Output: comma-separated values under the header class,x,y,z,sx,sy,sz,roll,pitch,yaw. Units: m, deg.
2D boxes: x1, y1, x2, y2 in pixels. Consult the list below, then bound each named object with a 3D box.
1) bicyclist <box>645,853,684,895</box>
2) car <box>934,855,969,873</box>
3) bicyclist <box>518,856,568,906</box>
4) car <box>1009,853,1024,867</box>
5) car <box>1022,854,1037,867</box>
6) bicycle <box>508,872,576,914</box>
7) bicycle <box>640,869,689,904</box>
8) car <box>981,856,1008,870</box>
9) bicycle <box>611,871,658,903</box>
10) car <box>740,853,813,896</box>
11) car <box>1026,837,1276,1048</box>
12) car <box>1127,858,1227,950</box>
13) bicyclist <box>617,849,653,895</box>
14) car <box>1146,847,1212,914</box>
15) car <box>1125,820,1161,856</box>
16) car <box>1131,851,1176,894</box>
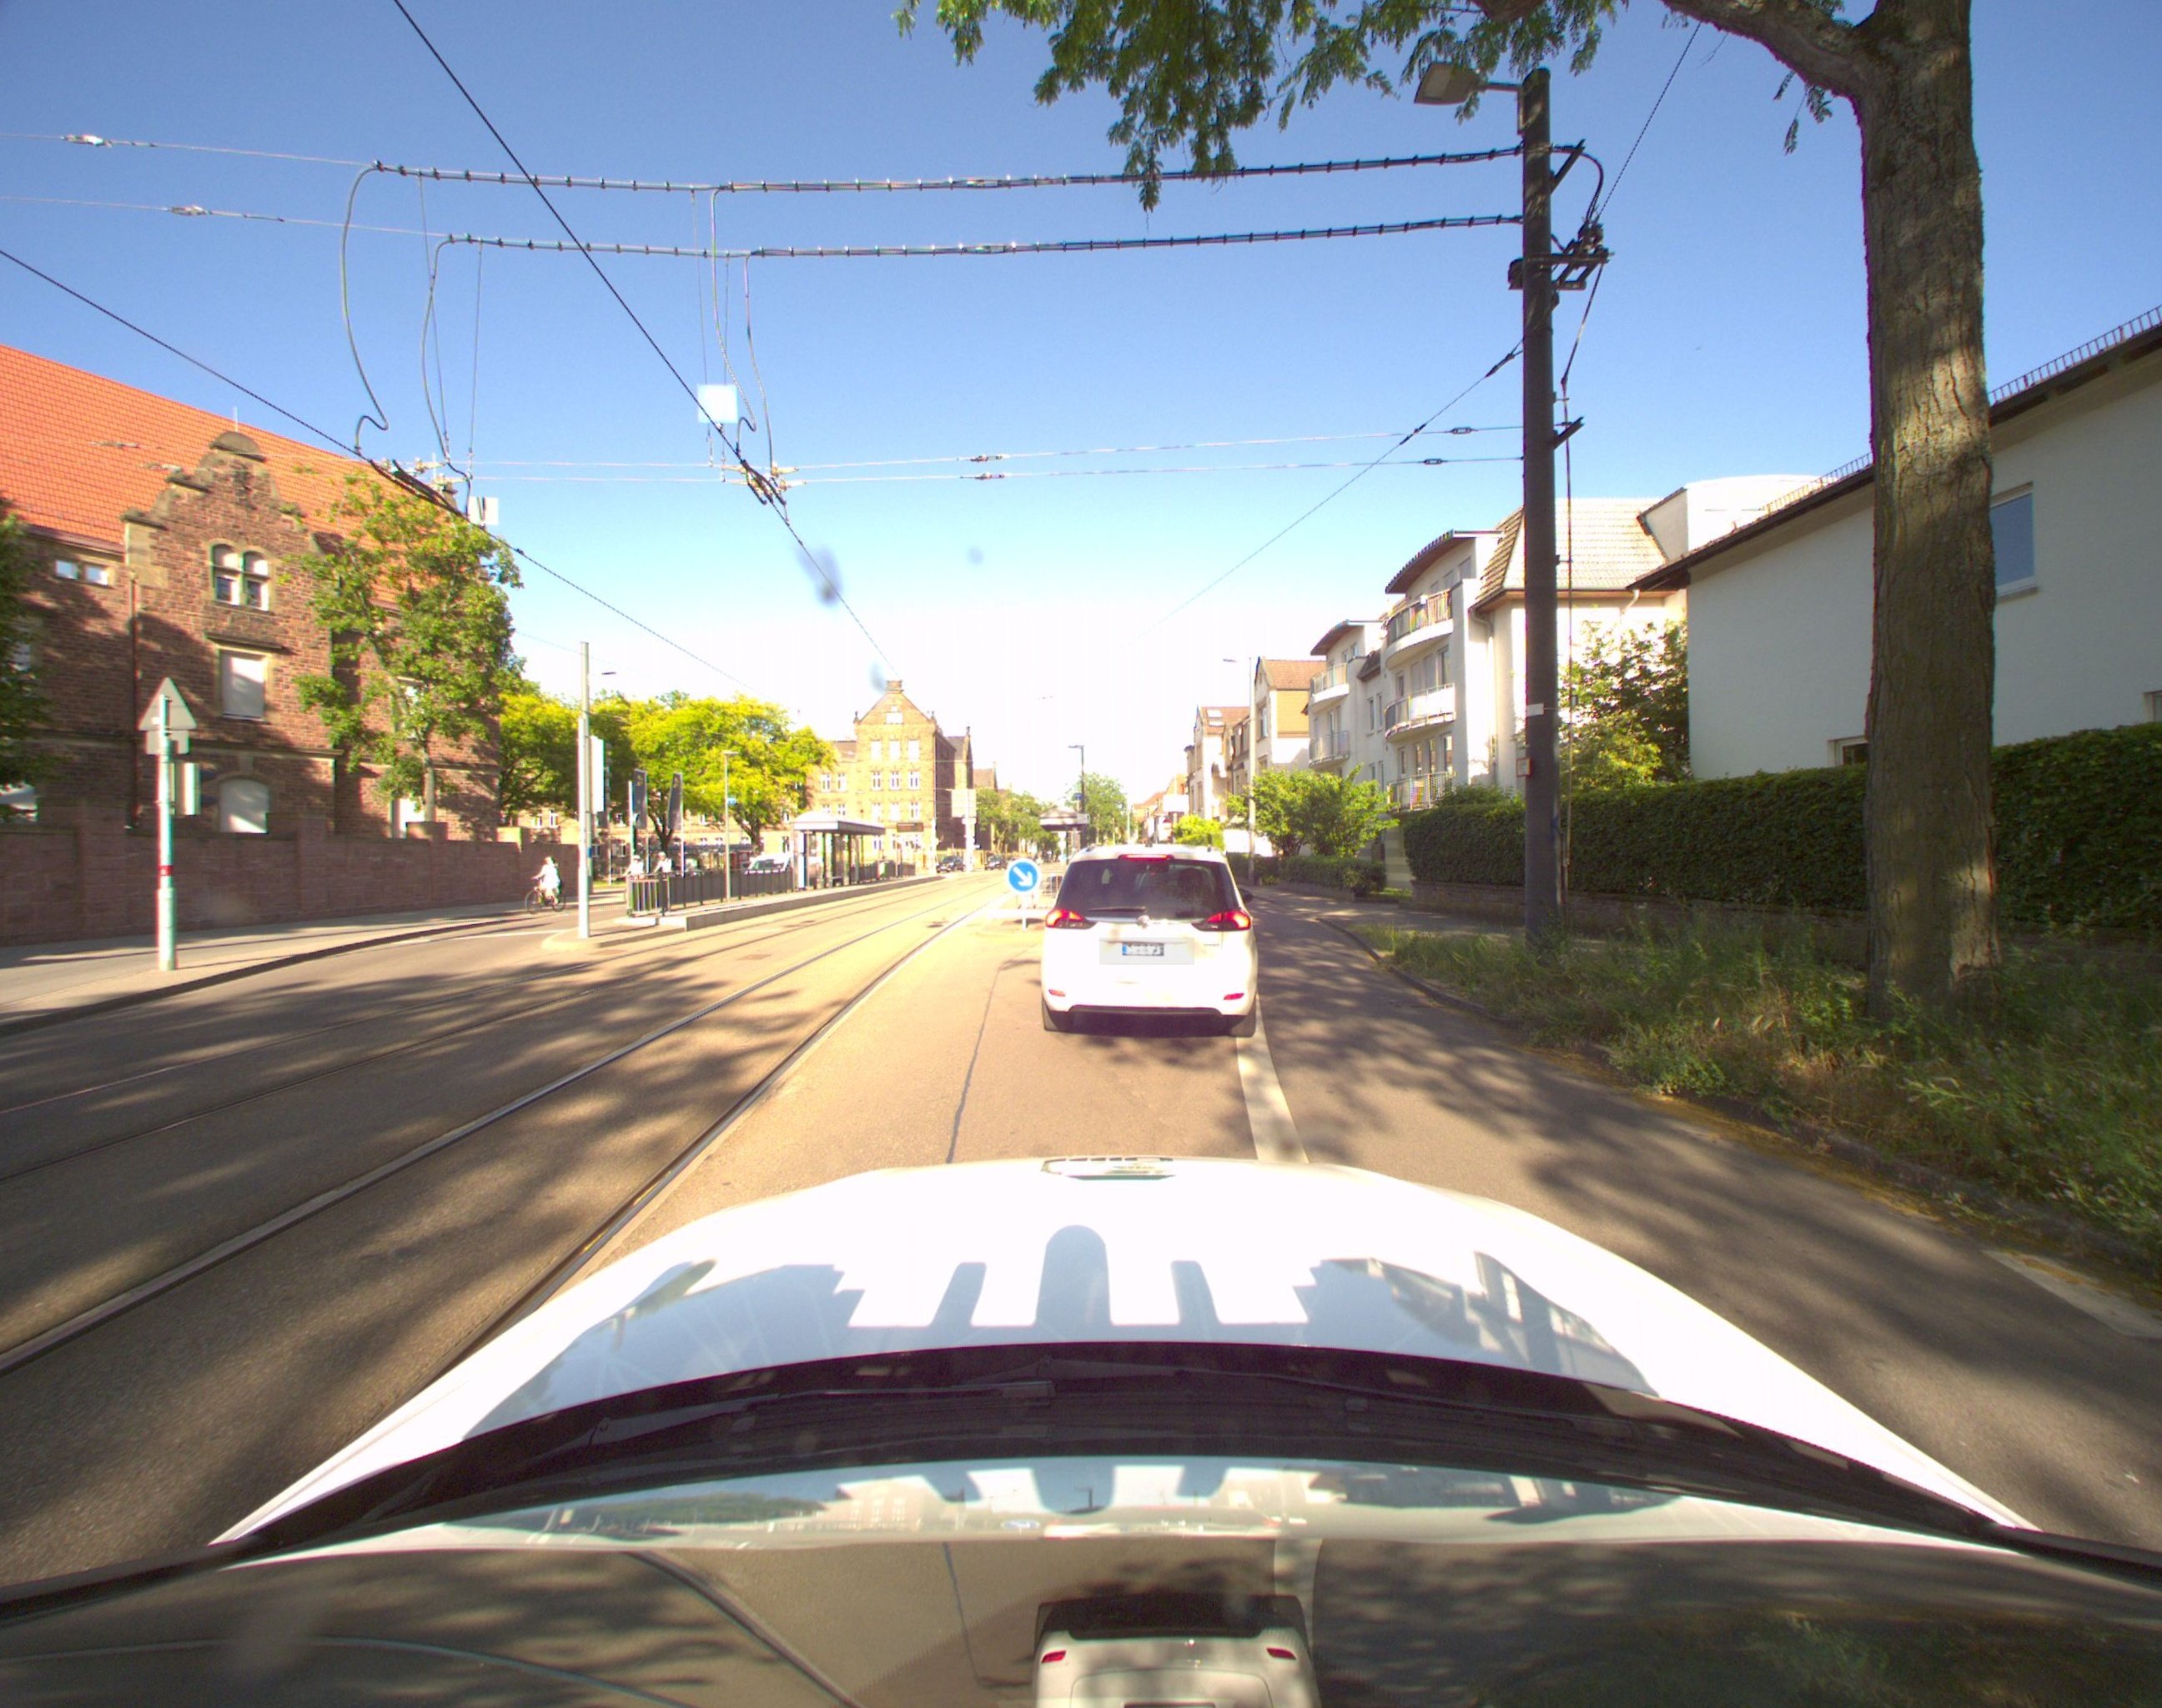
class,x,y,z,sx,sy,sz,roll,pitch,yaw
bicyclist,-15.633,0.740,30.617,0.758,1.536,1.347,-1,0,-1
car,-12.105,0.914,76.362,1.815,1.617,4.340,-1,-1,11
bicyclist,-16.537,0.816,25.066,0.754,1.471,1.190,0,-1,-1
car,-8.208,0.764,104.036,1.822,1.788,4.323,-1,-1,-2
car,-8.159,0.964,129.451,1.985,2.014,4.003,0,-1,3
bicycle,-16.534,1.178,25.047,0.813,1.198,1.952,0,0,-1
bicycle,-15.625,1.193,30.605,0.774,1.231,2.088,-1,0,-1
car,-9.516,0.983,89.642,1.815,1.446,4.340,-1,-1,10
bicycle,-16.624,1.211,30.385,0.667,1.072,2.014,0,0,0
car,-13.551,0.852,36.472,1.823,1.788,4.250,-1,0,-3
car,0.779,0.672,8.189,1.868,1.585,4.008,-1,0,7
car,1.769,0.805,14.865,1.560,1.401,3.792,1,0,7
bicyclist,-16.637,0.668,30.414,0.648,1.674,1.233,0,1,0
car,2.525,0.643,21.665,1.562,1.614,3.788,1,0,4
car,3.012,-0.792,40.120,1.590,1.635,3.903,1,1,2
car,2.942,0.731,33.549,1.590,1.635,3.903,1,0,2
